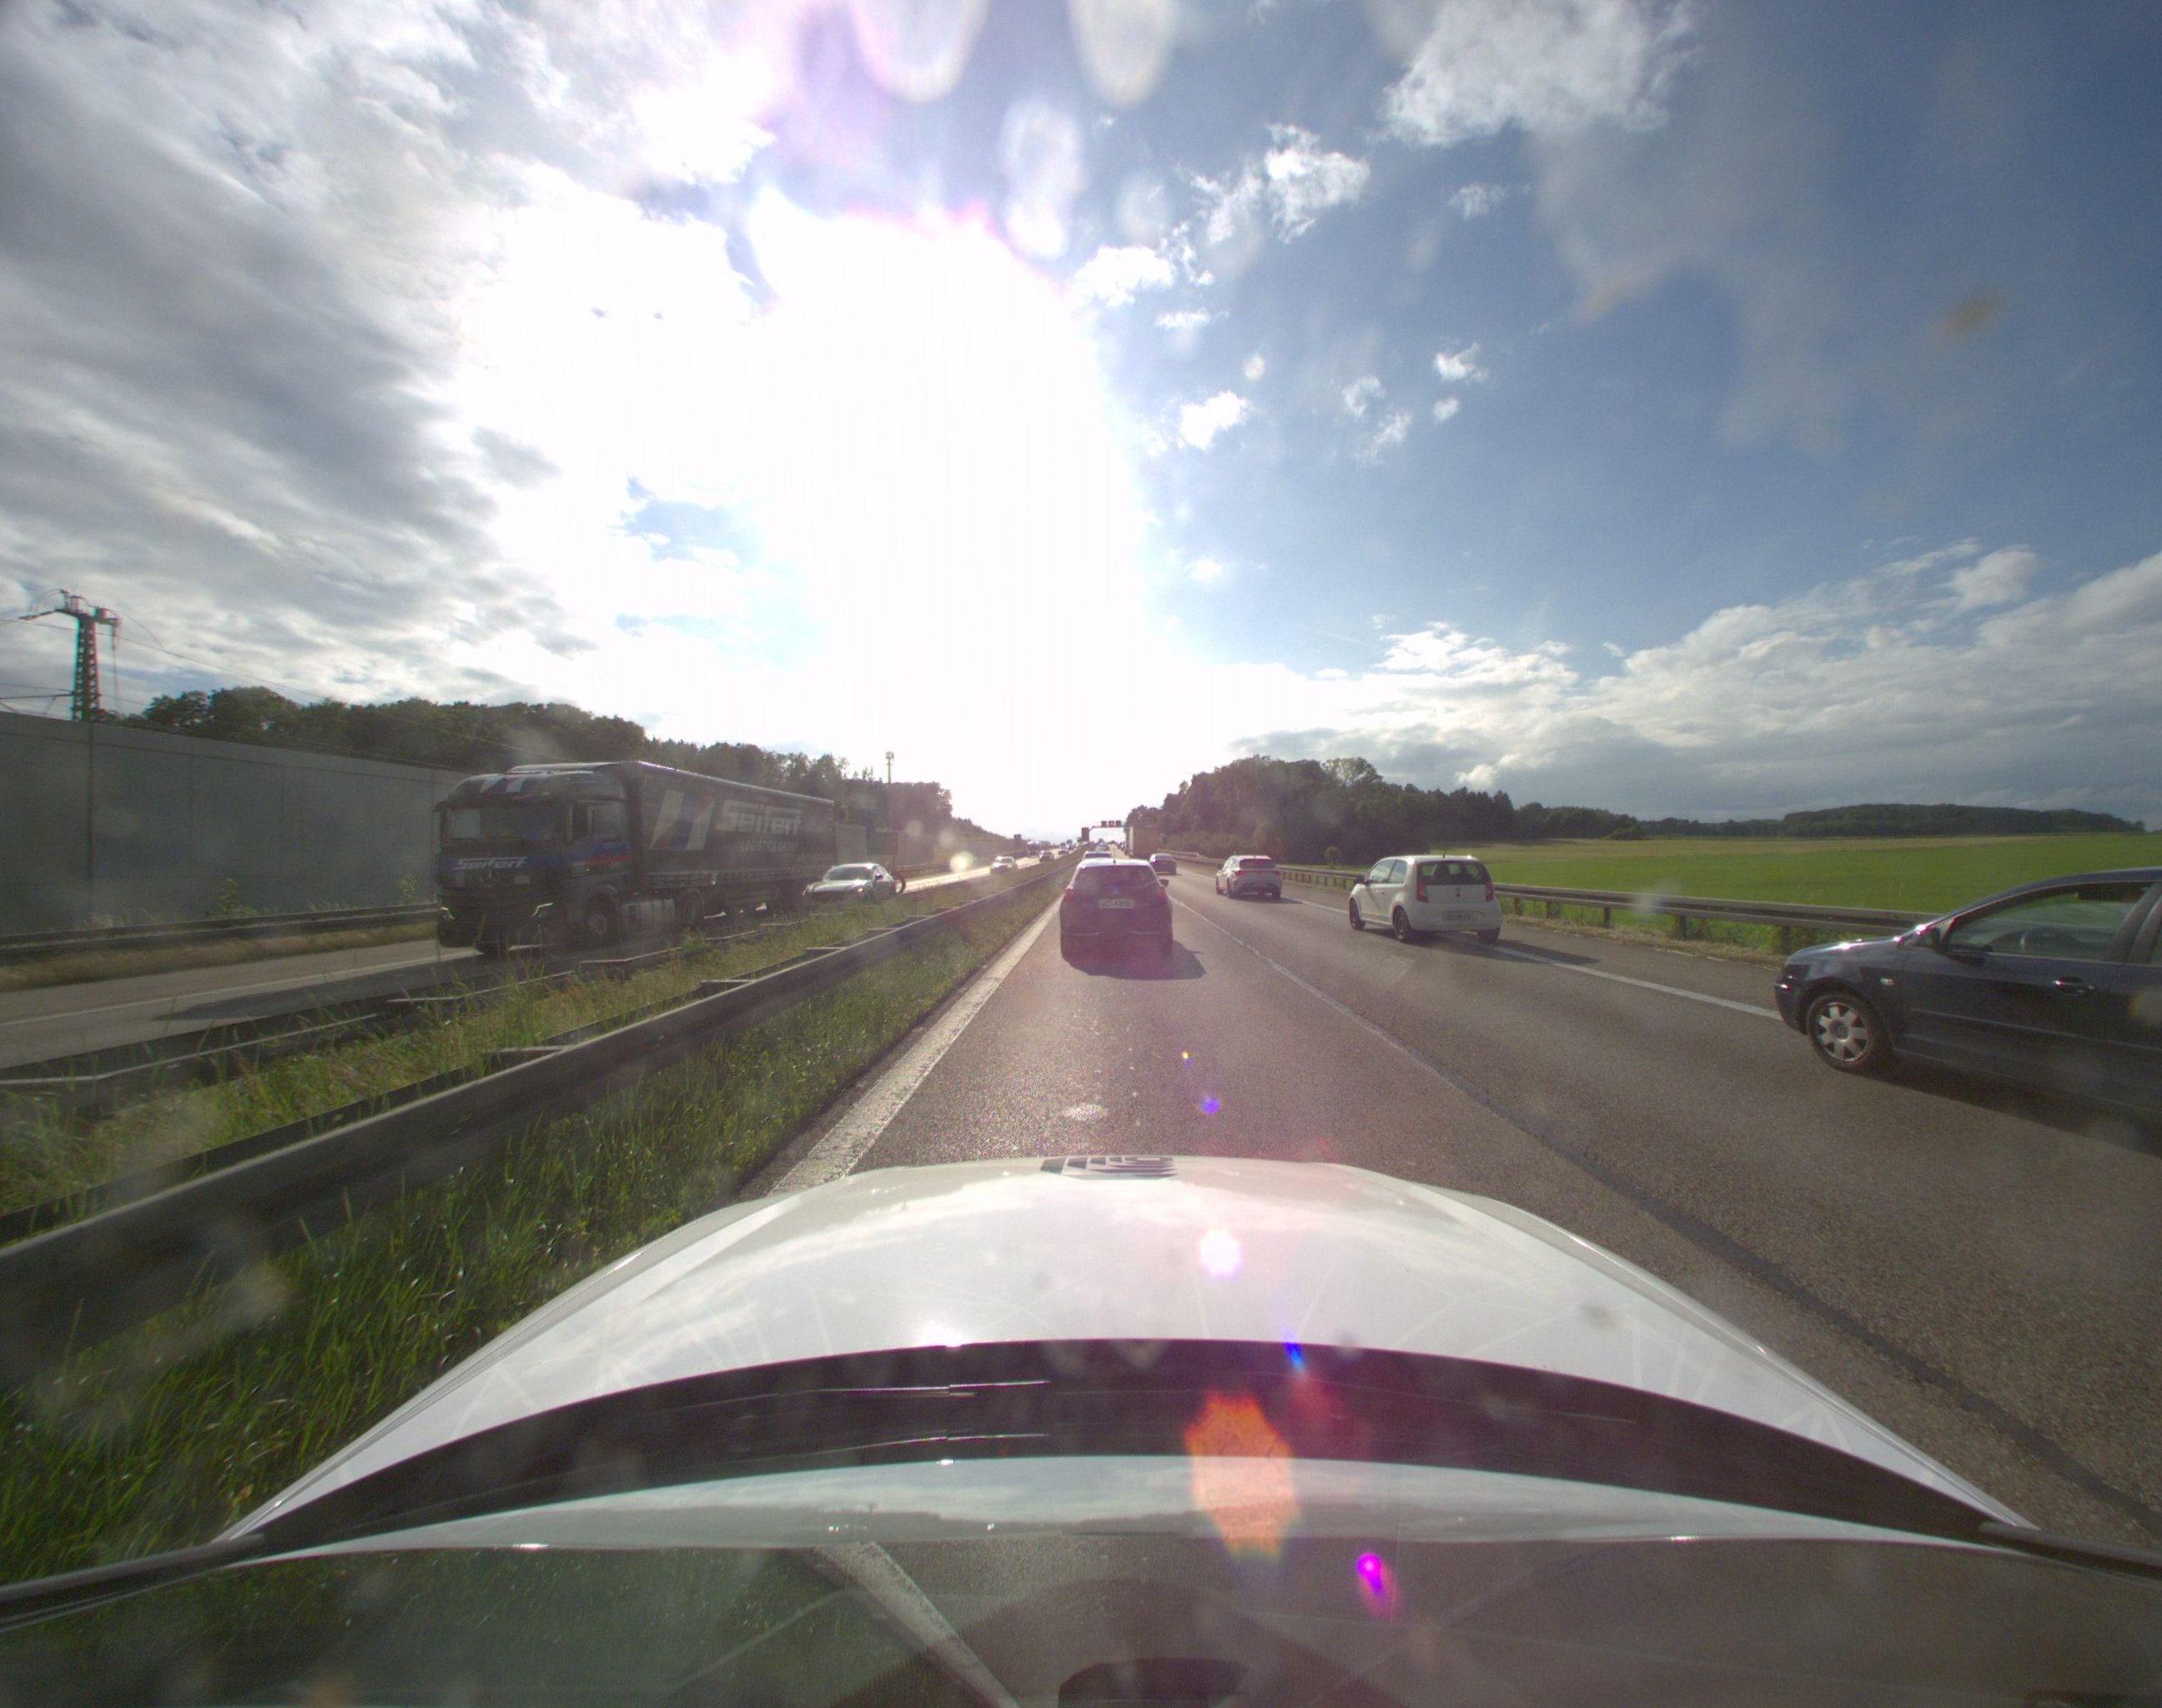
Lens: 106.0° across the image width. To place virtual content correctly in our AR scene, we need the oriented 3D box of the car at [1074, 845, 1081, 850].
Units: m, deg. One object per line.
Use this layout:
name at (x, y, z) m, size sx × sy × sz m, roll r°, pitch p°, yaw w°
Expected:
car at (-0.959, -1.961, 235.962) m, size 1.986 × 1.433 × 4.449 m, roll -1°, pitch -1°, yaw 1°

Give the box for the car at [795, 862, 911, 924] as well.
car at (-6.695, 1.080, 24.533) m, size 1.881 × 1.632 × 5.112 m, roll -1°, pitch -1°, yaw 2°

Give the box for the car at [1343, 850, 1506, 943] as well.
car at (6.082, 0.679, 14.816) m, size 1.544 × 1.495 × 3.378 m, roll -1°, pitch 0°, yaw 0°

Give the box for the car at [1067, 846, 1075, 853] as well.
car at (-2.418, -1.068, 197.007) m, size 1.847 × 1.433 × 4.449 m, roll -1°, pitch -1°, yaw 1°

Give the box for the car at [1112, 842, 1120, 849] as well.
car at (10.097, -2.394, 235.420) m, size 1.986 × 2.014 × 4.000 m, roll -1°, pitch -1°, yaw 1°

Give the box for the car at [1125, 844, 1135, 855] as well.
car at (8.376, -0.801, 138.625) m, size 1.660 × 1.755 × 3.329 m, roll -1°, pitch -1°, yaw 3°

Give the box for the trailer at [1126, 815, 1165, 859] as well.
trailer at (7.058, -1.709, 90.961) m, size 3.536 × 4.457 × 12.724 m, roll -1°, pitch -1°, yaw 1°

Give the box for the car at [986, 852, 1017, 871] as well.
car at (-6.163, 0.591, 63.805) m, size 1.895 × 1.464 × 4.184 m, roll -1°, pitch -1°, yaw 1°

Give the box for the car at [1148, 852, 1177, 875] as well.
car at (5.532, 0.649, 55.496) m, size 1.740 × 1.475 × 4.149 m, roll -1°, pitch -1°, yaw 3°

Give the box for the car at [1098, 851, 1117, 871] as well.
car at (2.717, 0.702, 84.317) m, size 1.986 × 2.014 × 4.000 m, roll -1°, pitch -1°, yaw 1°

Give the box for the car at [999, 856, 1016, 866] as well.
car at (-10.862, 1.094, 120.960) m, size 1.986 × 1.433 × 4.449 m, roll -1°, pitch -1°, yaw 1°

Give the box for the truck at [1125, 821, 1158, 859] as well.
truck at (7.190, -1.611, 97.490) m, size 3.569 × 4.380 × 6.689 m, roll -1°, pitch -1°, yaw 1°

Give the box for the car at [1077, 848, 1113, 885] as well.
car at (0.741, 0.609, 40.254) m, size 1.667 × 1.726 × 3.598 m, roll -1°, pitch -1°, yaw 3°

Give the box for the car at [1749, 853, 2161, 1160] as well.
car at (5.950, 0.716, 4.341) m, size 1.704 × 1.445 × 3.774 m, roll -1°, pitch -1°, yaw 1°

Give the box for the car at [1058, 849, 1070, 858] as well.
car at (-3.244, -0.132, 156.892) m, size 1.986 × 1.593 × 4.449 m, roll -1°, pitch -1°, yaw 1°

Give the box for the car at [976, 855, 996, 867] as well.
car at (-12.137, 0.930, 104.678) m, size 1.986 × 1.433 × 4.449 m, roll -1°, pitch -1°, yaw 1°

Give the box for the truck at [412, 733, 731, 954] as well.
truck at (-11.058, -0.163, 18.753) m, size 2.743 × 4.090 × 6.956 m, roll -1°, pitch -1°, yaw 2°

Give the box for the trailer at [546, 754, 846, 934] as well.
trailer at (-10.814, -0.168, 25.361) m, size 2.749 × 4.115 × 12.909 m, roll -1°, pitch -1°, yaw 2°

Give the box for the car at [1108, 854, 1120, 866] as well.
car at (5.419, 1.005, 134.552) m, size 1.986 × 2.014 × 4.000 m, roll -1°, pitch -1°, yaw 1°

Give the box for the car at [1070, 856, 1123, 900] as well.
car at (0.566, 0.782, 27.518) m, size 1.667 × 1.367 × 3.598 m, roll -1°, pitch -1°, yaw 3°

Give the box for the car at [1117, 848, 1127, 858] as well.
car at (8.600, -0.278, 171.594) m, size 1.986 × 2.014 × 4.000 m, roll -1°, pitch -1°, yaw 1°

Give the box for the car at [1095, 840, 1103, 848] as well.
car at (4.553, -2.513, 209.492) m, size 1.986 × 2.014 × 4.000 m, roll -1°, pitch -1°, yaw 1°

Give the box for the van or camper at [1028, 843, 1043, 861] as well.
van or camper at (-7.866, -0.328, 141.482) m, size 2.217 × 3.079 × 6.514 m, roll -1°, pitch -1°, yaw 1°

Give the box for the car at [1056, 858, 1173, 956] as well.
car at (0.585, 0.801, 13.661) m, size 1.703 × 1.426 × 3.380 m, roll -1°, pitch -1°, yaw 3°

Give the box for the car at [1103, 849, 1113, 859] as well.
car at (4.979, 0.041, 150.026) m, size 1.660 × 1.755 × 3.329 m, roll -1°, pitch -1°, yaw 3°

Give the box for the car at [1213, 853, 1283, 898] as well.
car at (5.723, 0.715, 28.348) m, size 1.615 × 1.445 × 4.146 m, roll -1°, pitch -1°, yaw 0°

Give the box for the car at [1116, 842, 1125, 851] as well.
car at (9.401, -1.775, 193.092) m, size 1.986 × 2.014 × 4.000 m, roll -1°, pitch -1°, yaw 1°

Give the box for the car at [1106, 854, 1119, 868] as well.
car at (4.782, 1.058, 124.488) m, size 1.986 × 2.014 × 4.000 m, roll -1°, pitch -1°, yaw 1°

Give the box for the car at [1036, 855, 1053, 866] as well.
car at (-4.928, 0.923, 110.066) m, size 1.986 × 1.433 × 4.449 m, roll -1°, pitch -1°, yaw 1°
